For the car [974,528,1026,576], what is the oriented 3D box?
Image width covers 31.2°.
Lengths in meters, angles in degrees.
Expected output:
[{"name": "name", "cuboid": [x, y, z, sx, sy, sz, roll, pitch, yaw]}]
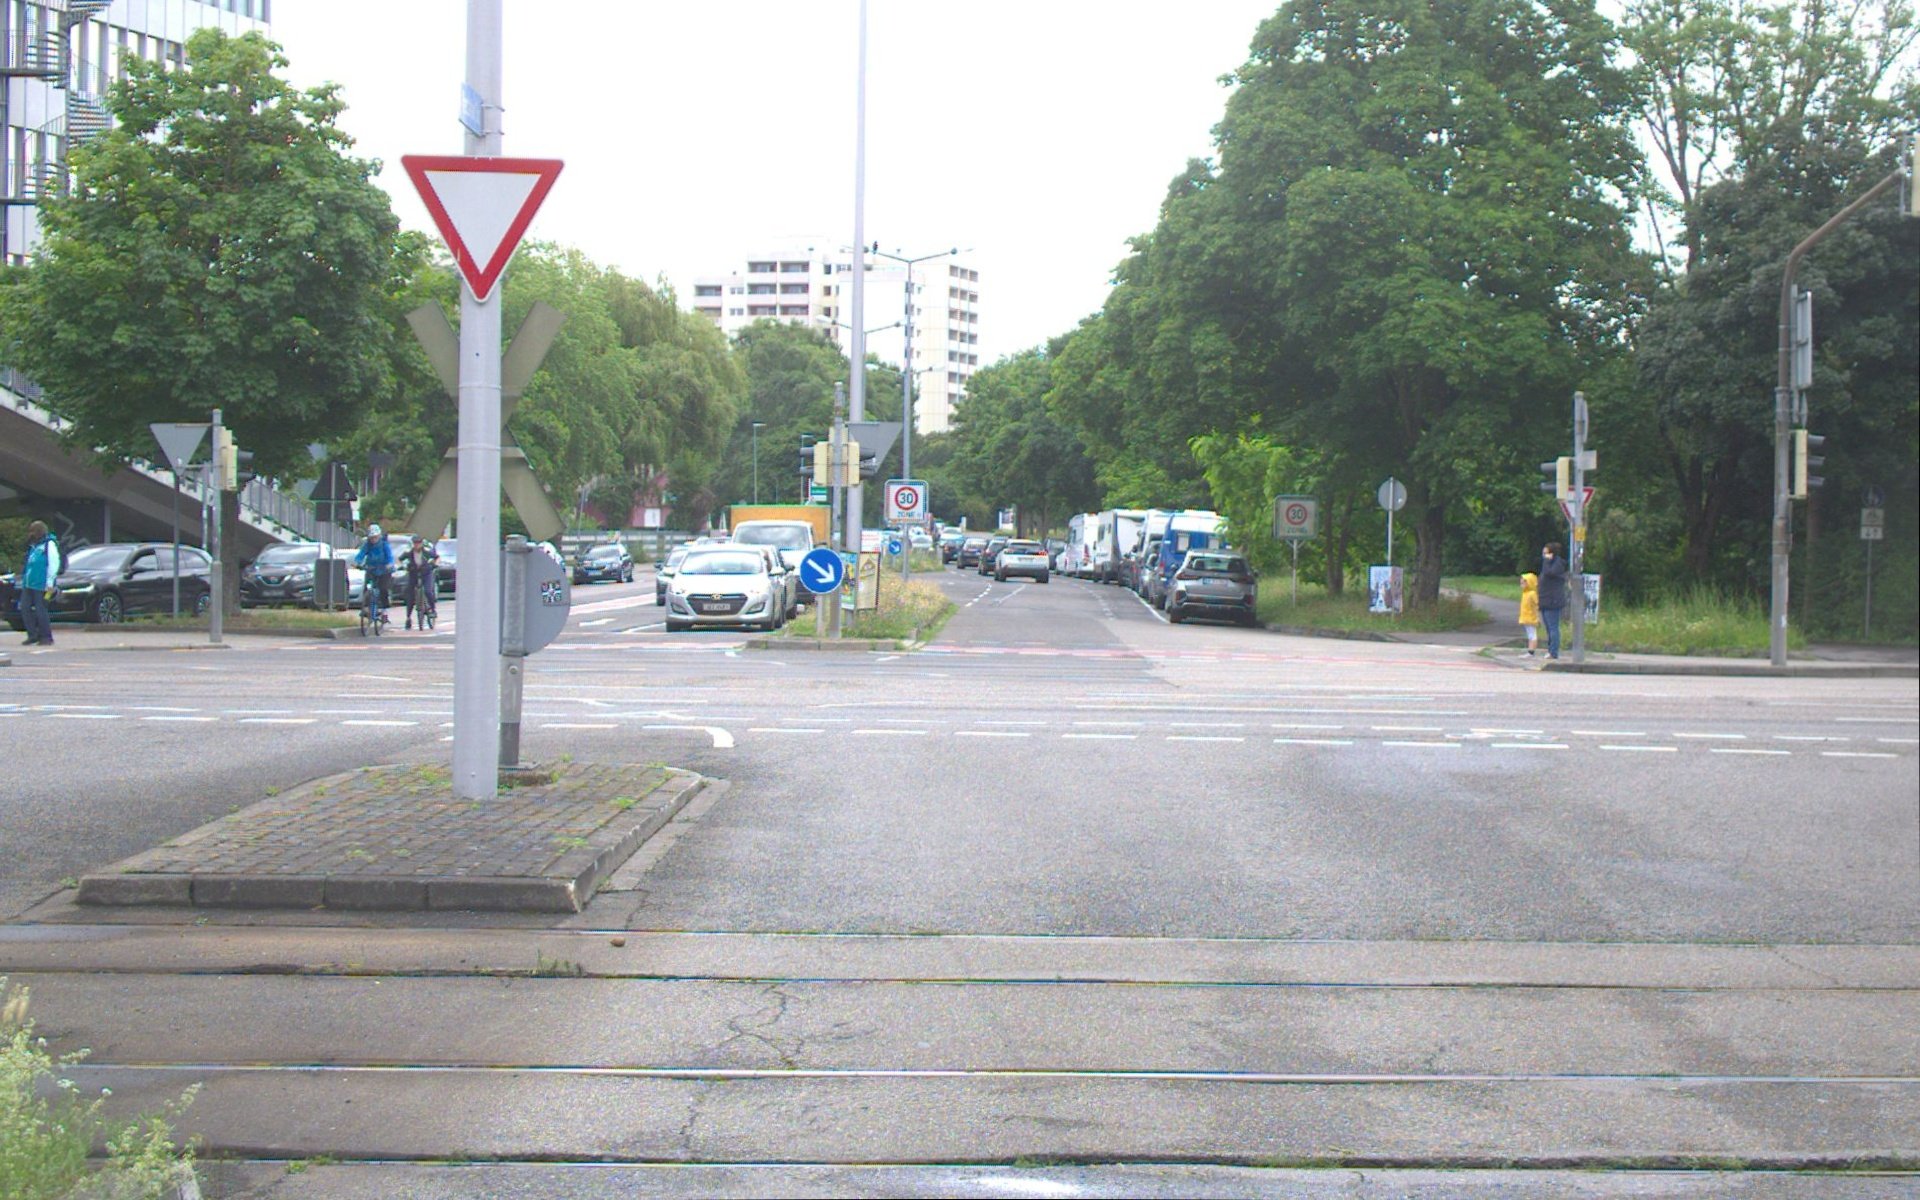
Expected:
[{"name": "car", "cuboid": [1.643, -2.009, 142.709, 2.020, 1.951, 4.000, 1, 1, -1]}]

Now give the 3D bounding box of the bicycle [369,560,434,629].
[{"name": "bicycle", "cuboid": [-9.328, -0.101, 57.451, 0.726, 1.097, 2.264, 1, 1, -1]}]

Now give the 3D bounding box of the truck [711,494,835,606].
[{"name": "truck", "cuboid": [-3.837, -1.065, 71.492, 2.155, 2.191, 5.840, 1, 1, 1]}]

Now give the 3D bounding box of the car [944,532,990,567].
[{"name": "car", "cuboid": [0.297, -2.290, 155.638, 2.020, 1.500, 4.000, 1, 1, -1]}]

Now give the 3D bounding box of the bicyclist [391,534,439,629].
[{"name": "bicyclist", "cuboid": [-9.225, -0.322, 58.191, 0.679, 1.589, 0.695, 1, 0, -1]}]

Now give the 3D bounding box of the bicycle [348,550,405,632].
[{"name": "bicycle", "cuboid": [-9.282, -0.153, 54.746, 0.543, 1.263, 2.111, 1, 1, -1]}]

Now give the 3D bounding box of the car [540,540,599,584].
[{"name": "car", "cuboid": [-14.373, -1.395, 126.555, 1.671, 1.546, 4.000, 1, 1, 0]}]

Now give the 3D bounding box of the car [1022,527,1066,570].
[{"name": "car", "cuboid": [3.866, -2.393, 158.978, 1.651, 1.912, 3.920, 1, 2, -4]}]

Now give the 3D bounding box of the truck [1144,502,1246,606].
[{"name": "truck", "cuboid": [6.161, -1.204, 90.724, 2.174, 2.647, 6.247, 0, 1, -1]}]

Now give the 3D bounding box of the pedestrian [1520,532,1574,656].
[{"name": "pedestrian", "cuboid": [8.394, -0.089, 49.189, 0.657, 1.744, 0.459, 1, 1, -1]}]

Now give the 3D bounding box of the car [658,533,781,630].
[{"name": "car", "cuboid": [-3.996, -0.340, 57.743, 1.789, 1.514, 4.326, 1, 1, -1]}]

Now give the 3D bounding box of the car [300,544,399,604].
[{"name": "car", "cuboid": [-14.743, -0.644, 83.146, 1.671, 1.382, 3.895, 1, 1, 0]}]

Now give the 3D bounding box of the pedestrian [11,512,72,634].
[{"name": "pedestrian", "cuboid": [-12.221, -0.361, 45.738, 0.687, 1.599, 0.488, 1, 1, -5]}]

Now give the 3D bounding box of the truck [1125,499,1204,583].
[{"name": "truck", "cuboid": [7.113, -2.074, 120.066, 1.993, 2.828, 5.732, 1, 1, -4]}]

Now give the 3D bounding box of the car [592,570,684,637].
[{"name": "car", "cuboid": [-7.626, 0.054, 81.780, 1.770, 1.472, 4.390, 1, 1, 0]}]

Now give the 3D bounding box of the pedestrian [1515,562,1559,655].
[{"name": "pedestrian", "cuboid": [8.374, 0.119, 49.915, 0.527, 1.337, 0.525, 1, 1, -1]}]

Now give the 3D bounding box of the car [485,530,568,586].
[{"name": "car", "cuboid": [-11.183, -1.079, 88.854, 1.512, 1.385, 3.532, 1, 1, 3]}]

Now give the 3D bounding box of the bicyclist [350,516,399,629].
[{"name": "bicyclist", "cuboid": [-9.267, -0.440, 54.459, 0.644, 1.762, 0.647, 1, 1, -1]}]

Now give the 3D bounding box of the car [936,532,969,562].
[{"name": "car", "cuboid": [-0.411, -2.781, 180.659, 1.554, 1.500, 4.001, 1, 1, -2]}]

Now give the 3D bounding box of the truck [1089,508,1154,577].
[{"name": "truck", "cuboid": [6.176, -2.197, 132.139, 1.993, 2.564, 5.379, 1, 1, -2]}]

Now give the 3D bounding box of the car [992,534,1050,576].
[{"name": "car", "cuboid": [2.286, -1.700, 129.541, 2.020, 1.500, 4.000, 1, 1, -1]}]

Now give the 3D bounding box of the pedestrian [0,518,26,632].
[{"name": "pedestrian", "cuboid": [-12.966, -0.343, 45.902, 0.917, 1.505, 0.404, 1, 1, -11]}]

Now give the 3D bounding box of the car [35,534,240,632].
[{"name": "car", "cuboid": [-13.706, -0.312, 57.492, 1.672, 1.546, 3.998, 1, 1, 14]}]

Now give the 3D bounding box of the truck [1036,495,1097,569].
[{"name": "truck", "cuboid": [4.400, -2.802, 142.926, 1.993, 2.998, 5.773, 1, 1, -4]}]

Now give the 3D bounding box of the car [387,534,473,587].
[{"name": "car", "cuboid": [-14.491, -1.105, 94.185, 1.763, 1.390, 4.000, 1, 1, -1]}]

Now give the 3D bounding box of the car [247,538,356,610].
[{"name": "car", "cuboid": [-14.847, -0.611, 77.650, 1.671, 1.546, 3.892, 1, 1, 0]}]

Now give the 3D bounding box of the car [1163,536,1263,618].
[{"name": "car", "cuboid": [5.404, -0.517, 73.932, 1.784, 1.656, 4.000, 1, 1, -1]}]
